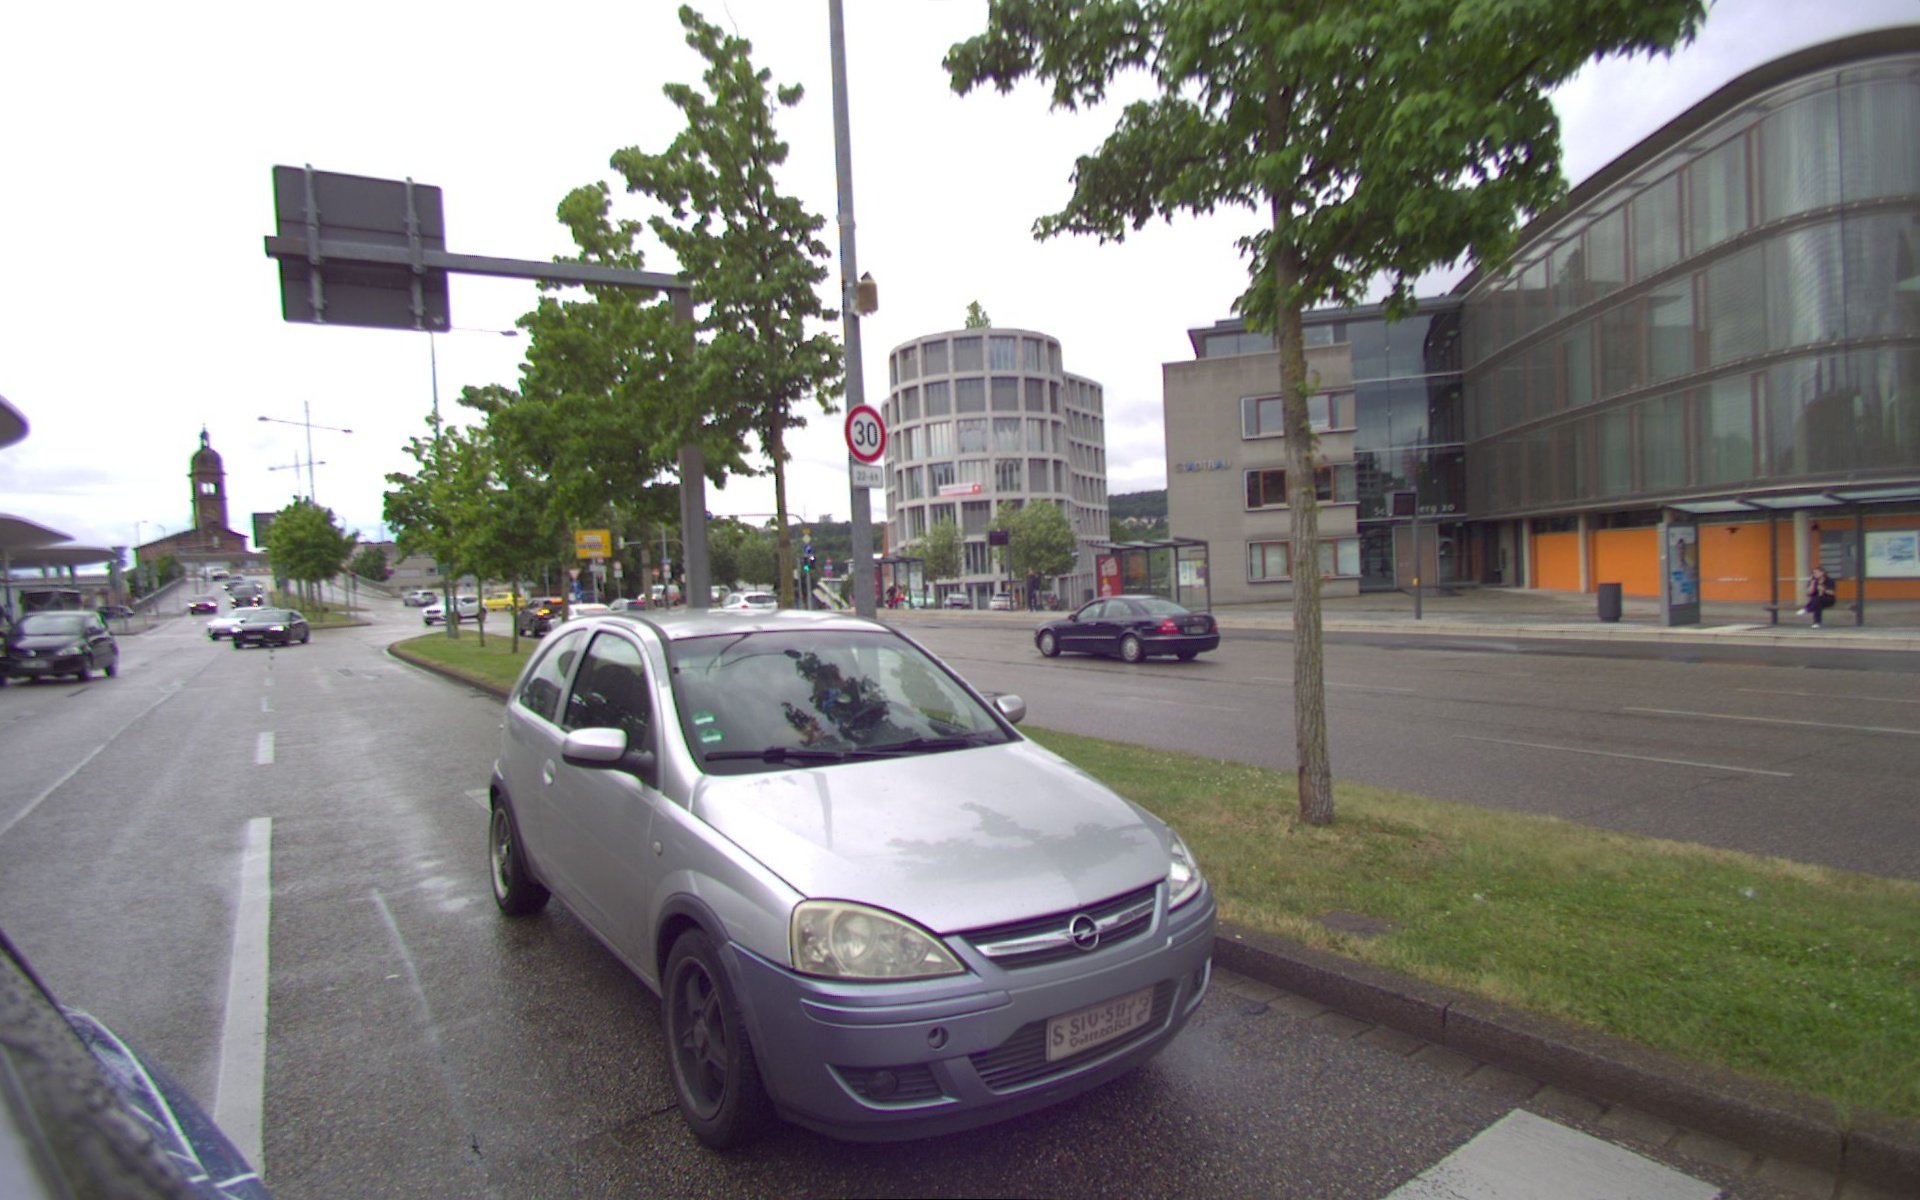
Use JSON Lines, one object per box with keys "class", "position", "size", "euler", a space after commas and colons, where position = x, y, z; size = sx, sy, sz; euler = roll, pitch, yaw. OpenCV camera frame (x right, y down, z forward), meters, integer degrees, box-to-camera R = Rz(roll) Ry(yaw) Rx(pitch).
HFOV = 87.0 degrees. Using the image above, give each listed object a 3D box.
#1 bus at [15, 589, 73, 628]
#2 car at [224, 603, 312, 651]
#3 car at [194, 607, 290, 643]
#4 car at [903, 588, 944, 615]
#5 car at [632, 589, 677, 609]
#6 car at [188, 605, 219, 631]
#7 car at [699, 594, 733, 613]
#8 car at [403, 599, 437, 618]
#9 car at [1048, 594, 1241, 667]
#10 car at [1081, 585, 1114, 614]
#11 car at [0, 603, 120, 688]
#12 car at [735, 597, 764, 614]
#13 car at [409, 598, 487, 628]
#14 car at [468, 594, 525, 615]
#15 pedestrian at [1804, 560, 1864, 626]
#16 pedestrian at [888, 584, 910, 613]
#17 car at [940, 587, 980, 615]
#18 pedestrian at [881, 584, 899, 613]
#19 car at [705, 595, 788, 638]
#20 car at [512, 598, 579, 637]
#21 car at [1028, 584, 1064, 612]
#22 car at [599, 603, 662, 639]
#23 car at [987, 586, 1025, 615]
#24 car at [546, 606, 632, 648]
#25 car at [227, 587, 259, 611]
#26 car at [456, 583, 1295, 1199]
{"class": "bus", "position": [-80.378, 0.742, 88.803], "size": [3.530, 3.121, 10.767], "euler": [-2, 1, -42]}
{"class": "car", "position": [-26.972, 1.003, 39.599], "size": [1.844, 1.714, 4.171], "euler": [-1, 0, -20]}
{"class": "car", "position": [-34.565, 1.183, 48.848], "size": [1.787, 1.571, 4.049], "euler": [-1, 0, 0]}
{"class": "car", "position": [-2.357, 0.083, 66.516], "size": [1.857, 1.714, 4.143], "euler": [-1, 0, 11]}
{"class": "car", "position": [-25.295, -0.082, 83.859], "size": [1.857, 1.646, 4.142], "euler": [-1, 0, 12]}
{"class": "car", "position": [-61.756, 1.402, 82.655], "size": [1.967, 2.029, 4.010], "euler": [-1, 0, -36]}
{"class": "car", "position": [-23.230, 0.323, 96.625], "size": [1.853, 1.646, 4.279], "euler": [-2, 1, 5]}
{"class": "car", "position": [-49.912, 0.793, 93.498], "size": [1.848, 1.646, 4.164], "euler": [-2, 0, -40]}
{"class": "car", "position": [3.945, 0.605, 22.251], "size": [1.929, 1.433, 4.011], "euler": [-1, 0, -33]}
{"class": "car", "position": [8.767, -0.039, 64.149], "size": [1.857, 1.714, 4.143], "euler": [-1, 0, 11]}
{"class": "car", "position": [-20.225, 0.968, 22.518], "size": [1.845, 1.715, 4.169], "euler": [-1, -1, -33]}
{"class": "car", "position": [-22.349, 0.560, 107.496], "size": [1.854, 1.646, 4.150], "euler": [-1, 0, 6]}
{"class": "car", "position": [-30.542, 0.747, 60.537], "size": [1.858, 1.646, 4.284], "euler": [-1, 0, 12]}
{"class": "car", "position": [-37.948, 0.375, 82.845], "size": [4.126, 1.646, 1.865], "euler": [-1, 0, 20]}
{"class": "pedestrian", "position": [17.654, -0.144, 20.449], "size": [0.657, 1.309, 0.722], "euler": [-1, 0, -29]}
{"class": "pedestrian", "position": [-3.211, -0.076, 53.342], "size": [0.967, 1.501, 0.737], "euler": [-1, 0, -24]}
{"class": "car", "position": [0.063, 0.057, 65.927], "size": [1.857, 1.714, 4.143], "euler": [-1, 0, 11]}
{"class": "pedestrian", "position": [-3.764, -0.074, 54.177], "size": [0.721, 1.501, 0.737], "euler": [-1, 0, -26]}
{"class": "car", "position": [-8.726, 0.619, 41.176], "size": [1.929, 1.630, 4.220], "euler": [-1, 0, -33]}
{"class": "car", "position": [-17.617, 0.706, 42.898], "size": [1.977, 1.566, 4.177], "euler": [-1, 0, -31]}
{"class": "car", "position": [5.548, -0.135, 65.139], "size": [1.857, 1.714, 4.143], "euler": [-1, 0, 11]}
{"class": "car", "position": [-14.694, 0.889, 44.991], "size": [1.671, 1.476, 4.465], "euler": [-1, 0, -31]}
{"class": "car", "position": [3.033, 0.010, 65.340], "size": [1.857, 1.714, 4.143], "euler": [-1, 0, 11]}
{"class": "car", "position": [-13.478, 0.929, 36.656], "size": [1.978, 1.363, 4.176], "euler": [-1, 0, -34]}
{"class": "car", "position": [-61.436, -0.101, 86.735], "size": [1.968, 2.029, 4.007], "euler": [-1, 0, -39]}
{"class": "car", "position": [-0.768, 0.705, 4.034], "size": [1.672, 1.476, 3.729], "euler": [-1, 0, -35]}
